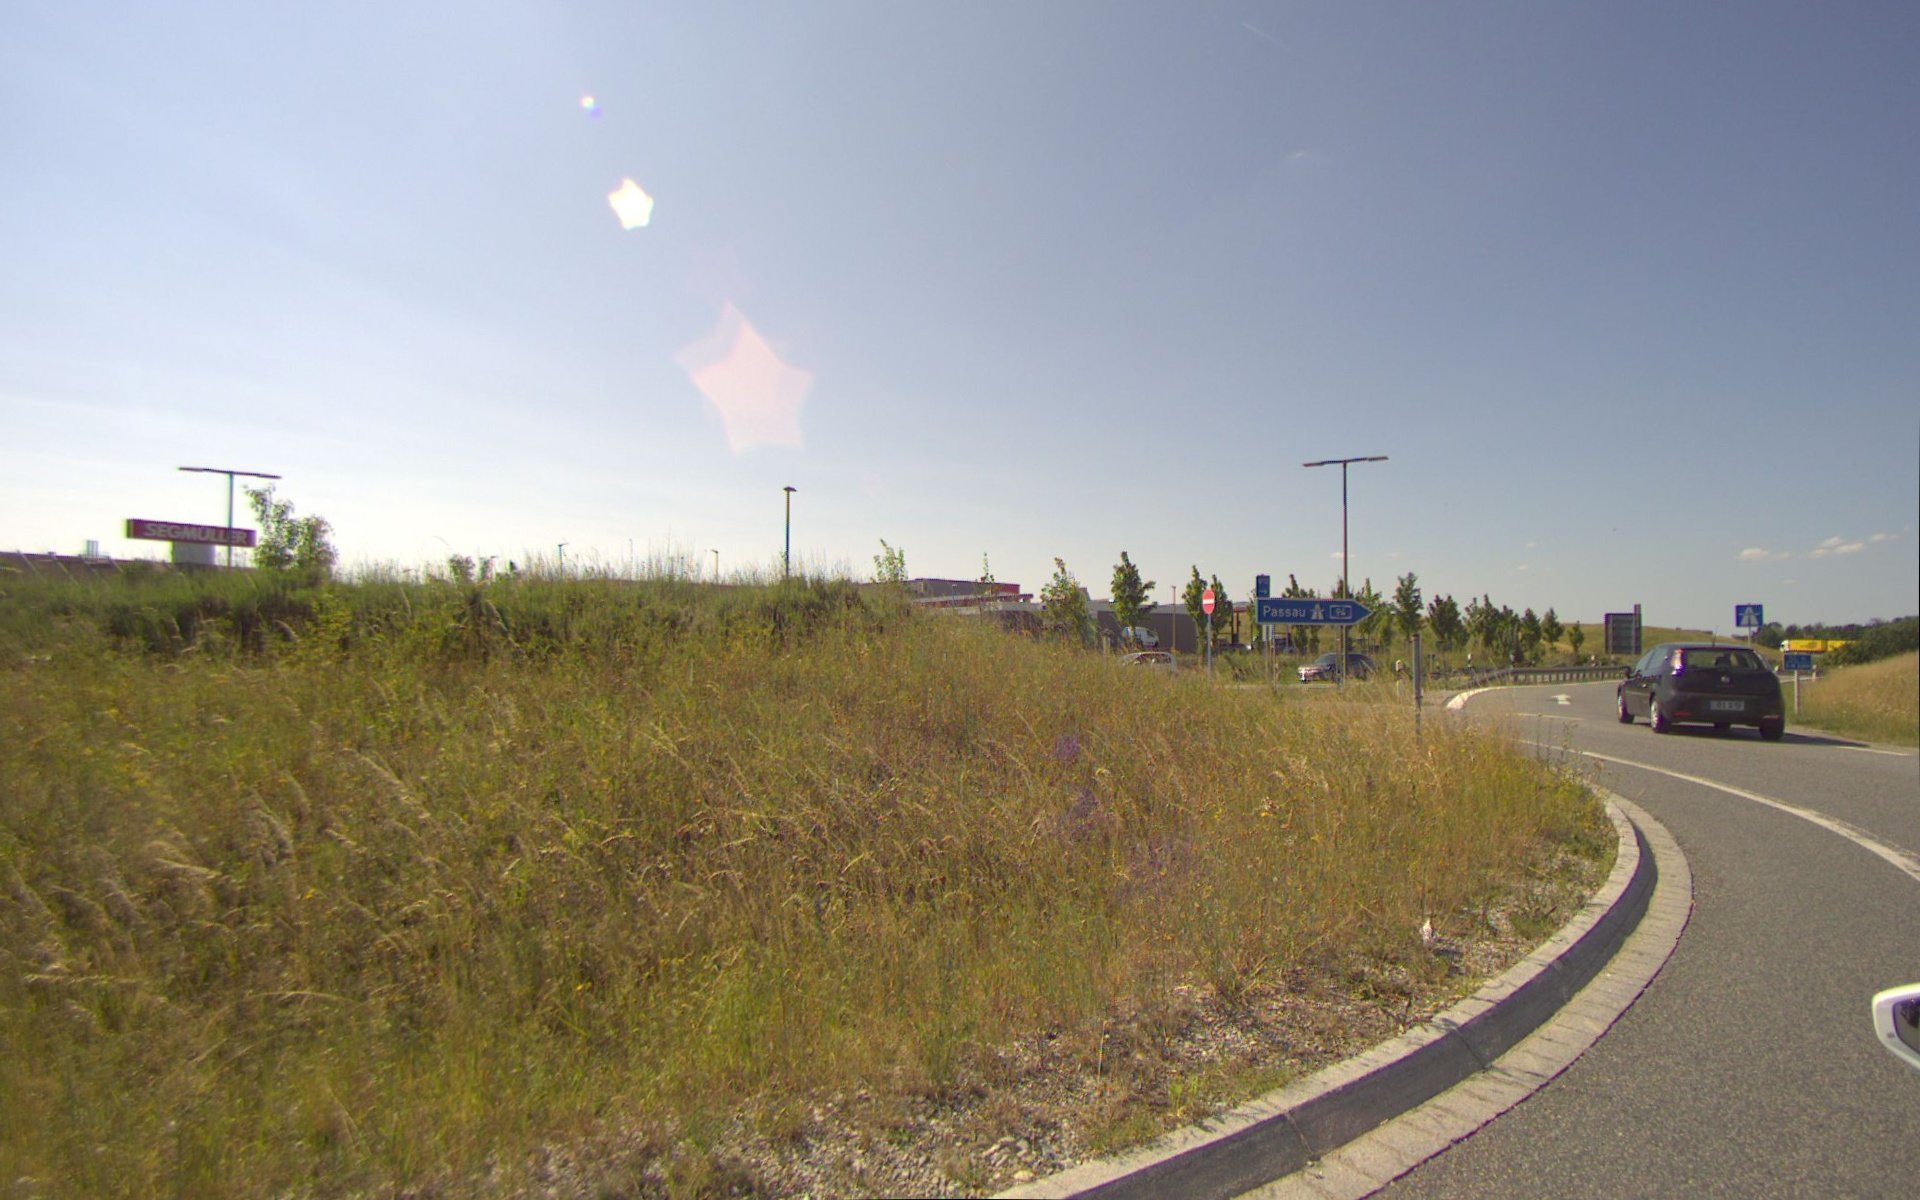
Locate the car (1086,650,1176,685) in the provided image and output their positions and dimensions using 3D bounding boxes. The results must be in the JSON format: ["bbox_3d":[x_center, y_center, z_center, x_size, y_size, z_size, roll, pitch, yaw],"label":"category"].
[{"bbox_3d":[7.324,2.866,42.998,3.536,1.432,1.683,1,-2,-27],"label":"car"}]

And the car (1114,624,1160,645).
[{"bbox_3d":[15.214,2.996,86.307,3.973,1.754,1.975,2,-3,-44],"label":"car"}]

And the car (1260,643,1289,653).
[{"bbox_3d":[33.447,5.118,106.775,2.670,1.022,1.375,-2,-3,41],"label":"car"}]

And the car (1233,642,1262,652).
[{"bbox_3d":[30.664,5.052,107.189,2.670,1.022,1.240,-2,-3,41],"label":"car"}]

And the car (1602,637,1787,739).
[{"bbox_3d":[12.368,1.413,17.186,1.613,1.507,3.904,0,-2,22],"label":"car"}]

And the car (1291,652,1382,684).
[{"bbox_3d":[18.274,3.276,48.752,4.311,1.432,1.682,1,-2,-28],"label":"car"}]
